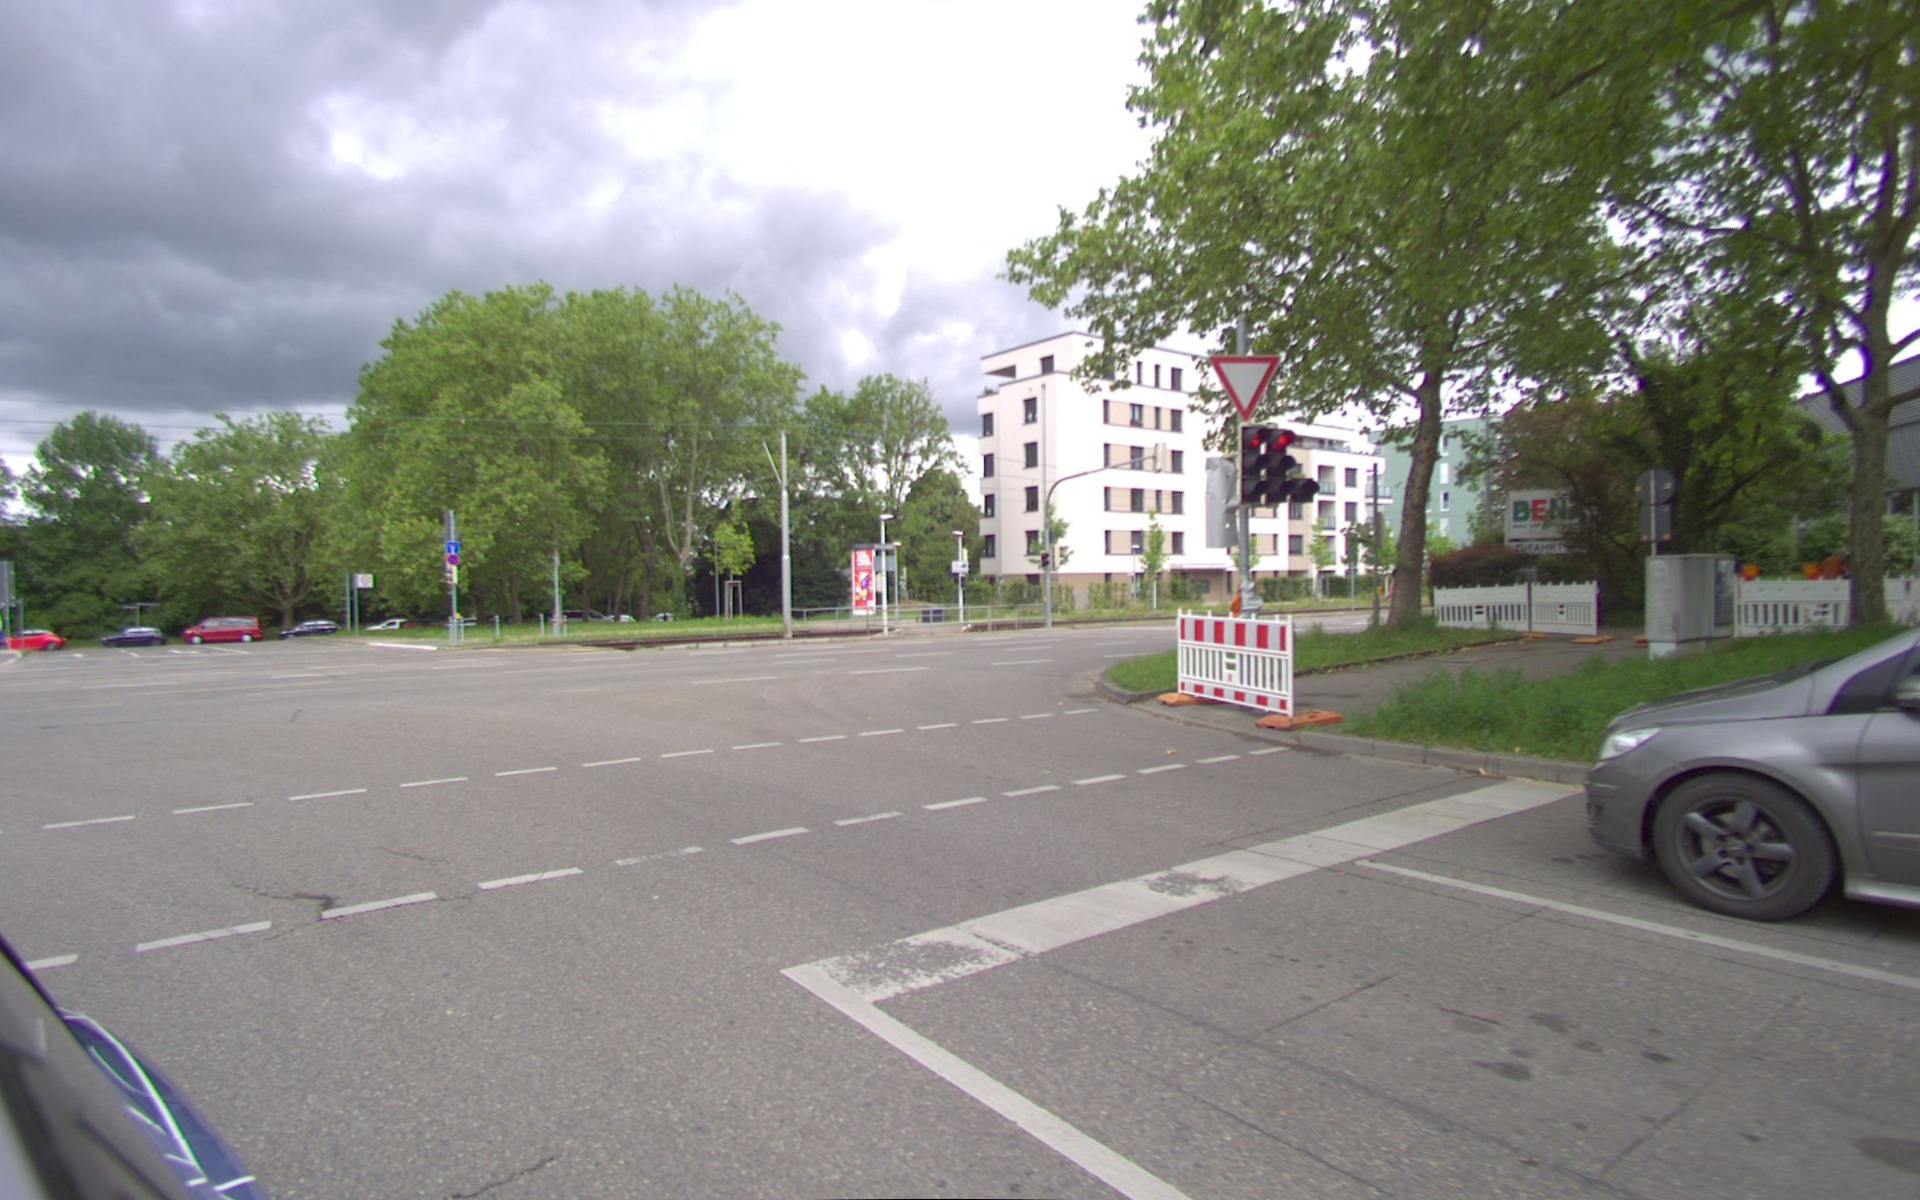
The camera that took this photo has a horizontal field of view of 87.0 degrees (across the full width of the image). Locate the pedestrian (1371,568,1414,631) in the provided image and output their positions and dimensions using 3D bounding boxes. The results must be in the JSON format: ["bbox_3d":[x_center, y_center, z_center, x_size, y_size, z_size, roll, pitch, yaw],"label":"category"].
[{"bbox_3d":[10.597,-0.015,24.785,0.688,1.500,0.690,-1,0,-33],"label":"pedestrian"}]

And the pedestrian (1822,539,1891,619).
[{"bbox_3d":[17.863,-0.412,20.189,0.645,1.550,0.774,-1,0,-8],"label":"pedestrian"}]

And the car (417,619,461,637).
[{"bbox_3d":[-42.382,2.249,82.301,3.086,1.354,1.452,-2,0,-30],"label":"car"}]

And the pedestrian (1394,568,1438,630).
[{"bbox_3d":[11.280,-0.032,25.045,0.687,1.500,0.722,-1,0,-32],"label":"pedestrian"}]

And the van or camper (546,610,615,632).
[{"bbox_3d":[-30.973,1.716,82.554,4.925,1.545,1.869,-2,0,-36],"label":"van or camper"}]

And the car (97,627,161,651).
[{"bbox_3d":[-58.850,2.738,71.731,3.214,1.513,1.609,-2,0,-30],"label":"car"}]

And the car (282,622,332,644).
[{"bbox_3d":[-49.670,2.511,77.063,3.086,1.513,1.609,-2,0,-30],"label":"car"}]

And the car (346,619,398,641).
[{"bbox_3d":[-46.367,2.375,79.871,3.535,1.548,1.879,-2,0,-30],"label":"car"}]

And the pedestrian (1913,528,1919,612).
[{"bbox_3d":[18.870,-0.577,19.241,0.836,1.598,0.799,-1,0,-21],"label":"pedestrian"}]

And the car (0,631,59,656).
[{"bbox_3d":[-63.542,2.948,68.567,3.485,1.510,1.651,-2,0,-36],"label":"car"}]

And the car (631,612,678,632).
[{"bbox_3d":[-27.978,1.977,92.670,3.750,1.661,1.703,-3,1,-40],"label":"car"}]

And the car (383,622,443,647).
[{"bbox_3d":[-40.880,2.572,75.654,3.723,1.674,1.669,-1,0,-36],"label":"car"}]

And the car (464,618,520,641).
[{"bbox_3d":[-36.640,2.293,79.220,3.724,1.674,1.668,-1,0,-38],"label":"car"}]

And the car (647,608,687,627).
[{"bbox_3d":[-28.747,1.734,99.504,3.722,1.742,1.669,-1,0,-14],"label":"car"}]

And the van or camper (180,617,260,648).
[{"bbox_3d":[-54.460,2.385,74.565,4.482,2.040,2.054,-2,0,-30],"label":"van or camper"}]

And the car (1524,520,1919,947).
[{"bbox_3d":[4.764,0.482,3.667,1.744,1.598,4.421,-1,0,-37],"label":"car"}]
